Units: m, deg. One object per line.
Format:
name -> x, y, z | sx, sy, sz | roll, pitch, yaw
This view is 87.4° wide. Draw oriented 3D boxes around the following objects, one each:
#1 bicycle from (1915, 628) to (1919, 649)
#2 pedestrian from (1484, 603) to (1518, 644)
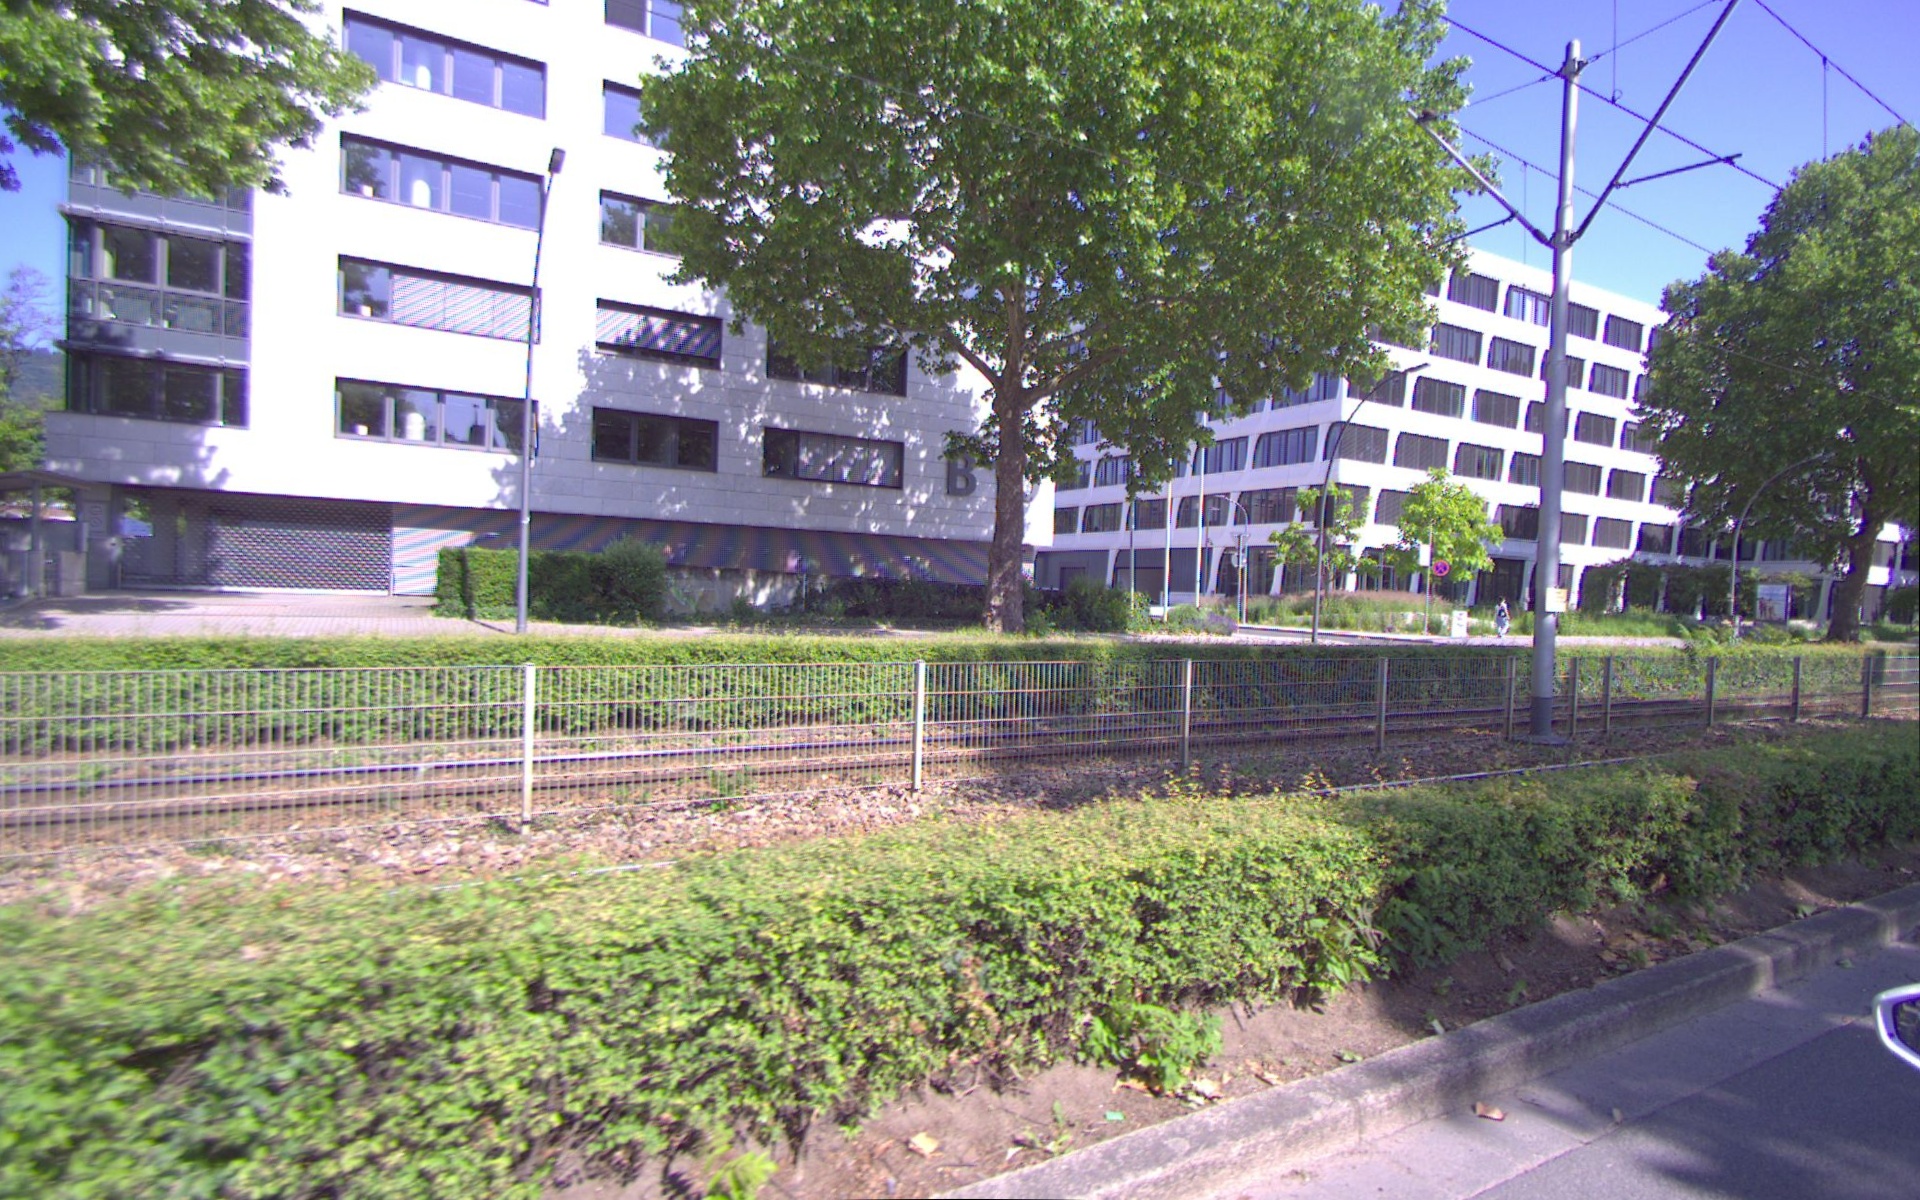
bicycle -> 52.459, 2.097, 54.272 | 2.006, 1.139, 0.661 | 2, 1, -29
pedestrian -> 21.812, 0.950, 40.505 | 1.002, 1.609, 0.717 | 2, 1, -29
